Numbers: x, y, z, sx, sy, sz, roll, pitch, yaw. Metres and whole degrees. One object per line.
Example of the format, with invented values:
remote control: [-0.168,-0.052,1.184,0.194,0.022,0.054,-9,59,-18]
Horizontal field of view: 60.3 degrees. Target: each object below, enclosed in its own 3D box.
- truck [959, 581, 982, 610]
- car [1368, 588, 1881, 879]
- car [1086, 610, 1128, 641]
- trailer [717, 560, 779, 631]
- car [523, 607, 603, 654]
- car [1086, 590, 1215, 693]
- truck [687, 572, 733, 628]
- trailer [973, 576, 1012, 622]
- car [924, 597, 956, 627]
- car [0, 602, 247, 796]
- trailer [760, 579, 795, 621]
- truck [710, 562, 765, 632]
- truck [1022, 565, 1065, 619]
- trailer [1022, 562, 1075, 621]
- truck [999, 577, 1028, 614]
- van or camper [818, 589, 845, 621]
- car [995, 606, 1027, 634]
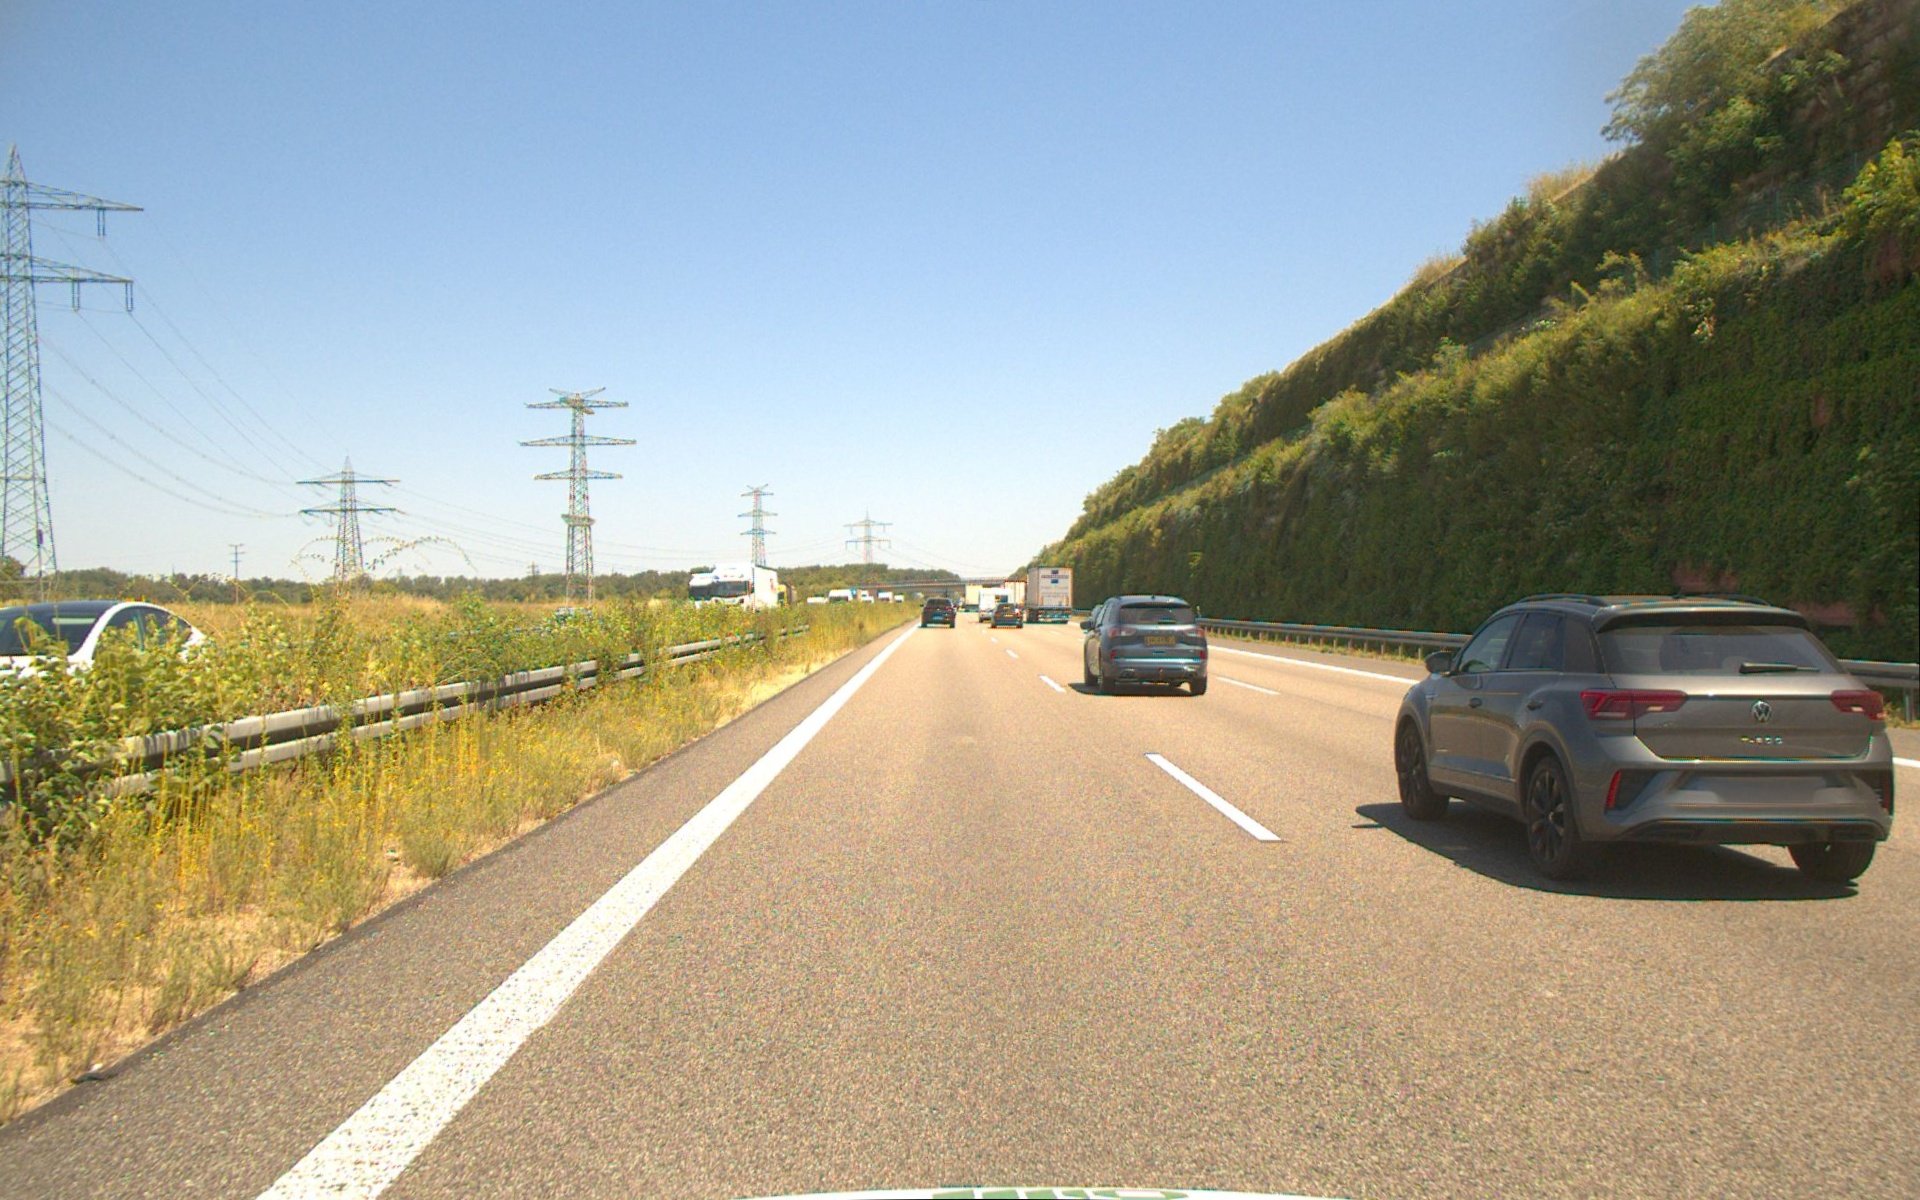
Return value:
truck: [1.617,-0.665,254.064,3.340,4.355,10.606,-1,0,0]
car: [4.074,0.718,10.907,1.714,1.552,3.994,0,0,-1]
car: [7.417,1.265,83.584,1.650,1.453,4.452,0,0,-1]
trailer: [-14.098,-0.265,111.221,2.713,4.425,14.234,-1,0,-2]
car: [-13.509,1.009,56.515,1.775,1.506,3.999,-1,0,0]
car: [3.264,0.681,29.053,1.757,1.682,4.137,0,0,-1]
truck: [-18.143,0.006,120.309,2.720,3.920,5.567,0,0,-2]
trailer: [2.394,-0.059,125.255,2.558,3.269,9.950,-1,0,-1]
car: [-1.172,0.682,97.170,1.792,1.700,3.999,-1,0,-1]
car: [-9.011,0.897,16.833,1.776,1.713,4.268,-1,0,-3]
trailer: [-18.937,0.003,172.188,2.681,4.116,9.422,-1,0,-1]
truck: [-13.949,-0.190,104.127,2.748,4.231,5.569,0,0,-1]
truck: [6.641,-0.637,132.587,3.072,4.214,5.503,-1,0,0]
trailer: [6.650,-0.616,125.787,3.118,4.193,13.429,-1,0,0]
truck: [6.457,-0.534,202.298,3.055,4.355,11.932,-1,0,0]
van or camper: [-10.672,0.421,137.781,1.953,2.627,6.284,0,0,-1]
car: [3.003,1.167,98.071,1.792,1.552,4.000,-1,0,0]
